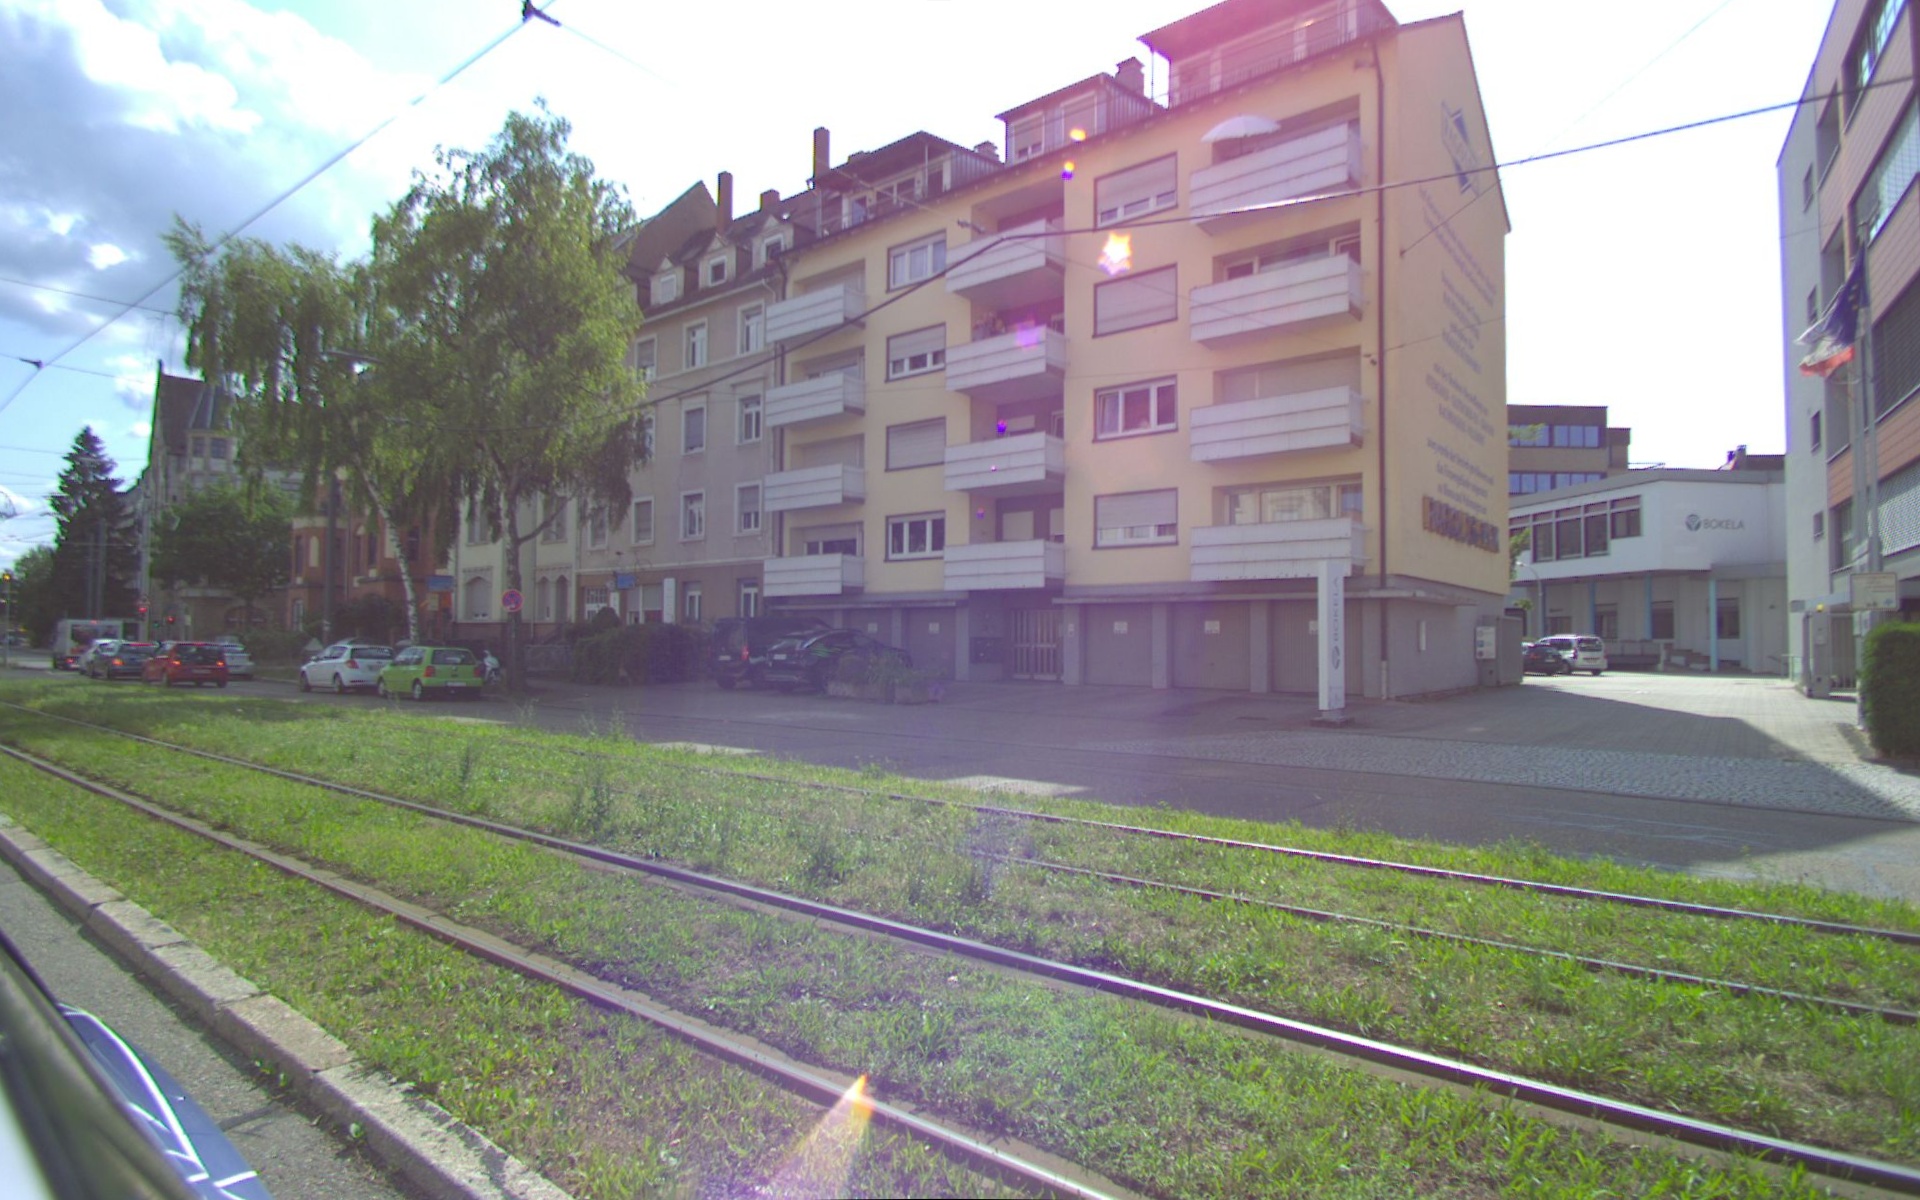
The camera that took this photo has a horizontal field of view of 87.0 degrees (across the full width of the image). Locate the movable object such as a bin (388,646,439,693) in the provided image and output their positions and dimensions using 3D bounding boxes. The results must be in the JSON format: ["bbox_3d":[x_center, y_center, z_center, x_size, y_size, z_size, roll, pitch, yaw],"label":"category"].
[{"bbox_3d":[-17.816,2.244,32.987,1.520,1.441,0.941,-2,-1,39],"label":"movable object such as a bin"}]

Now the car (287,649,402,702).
[{"bbox_3d":[-18.556,2.244,30.461,4.222,1.489,1.628,-2,-5,40],"label":"car"}]

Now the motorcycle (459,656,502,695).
[{"bbox_3d":[-14.197,2.209,29.953,1.630,1.050,0.494,-1,1,39],"label":"motorcycle"}]

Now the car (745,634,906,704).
[{"bbox_3d":[-3.504,1.764,26.878,1.971,1.614,3.947,-2,-2,39],"label":"car"}]

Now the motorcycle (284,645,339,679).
[{"bbox_3d":[-24.965,2.376,38.953,2.288,1.252,0.893,-2,-3,34],"label":"motorcycle"}]

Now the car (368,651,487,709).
[{"bbox_3d":[-14.400,2.112,27.289,3.612,1.443,1.577,-2,-4,40],"label":"car"}]

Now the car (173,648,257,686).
[{"bbox_3d":[-28.805,2.562,39.081,3.993,1.366,1.737,-2,-4,41],"label":"car"}]

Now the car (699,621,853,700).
[{"bbox_3d":[-5.196,1.655,28.842,1.937,2.029,3.944,-2,-2,42],"label":"car"}]

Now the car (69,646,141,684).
[{"bbox_3d":[-34.978,2.627,41.376,4.134,1.425,1.735,-2,-5,44],"label":"car"}]

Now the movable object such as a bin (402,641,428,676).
[{"bbox_3d":[-22.076,2.365,40.959,0.698,1.372,0.667,-2,-3,36],"label":"movable object such as a bin"}]

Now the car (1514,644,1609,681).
[{"bbox_3d":[28.581,2.956,48.244,1.744,1.708,4.006,1,-3,-8],"label":"car"}]

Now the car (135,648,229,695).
[{"bbox_3d":[-24.855,2.265,32.298,3.689,1.397,1.563,-2,-4,40],"label":"car"}]

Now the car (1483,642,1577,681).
[{"bbox_3d":[26.655,2.860,47.485,1.744,1.708,4.006,1,-3,-8],"label":"car"}]

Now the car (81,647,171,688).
[{"bbox_3d":[-30.383,2.440,36.824,4.510,1.366,1.737,-2,-5,41],"label":"car"}]

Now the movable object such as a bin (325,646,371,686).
[{"bbox_3d":[-22.612,2.414,37.403,1.520,1.377,0.942,-2,1,39],"label":"movable object such as a bin"}]

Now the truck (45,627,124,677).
[{"bbox_3d":[-41.726,2.466,48.153,6.613,2.231,2.160,-3,-5,44],"label":"truck"}]
